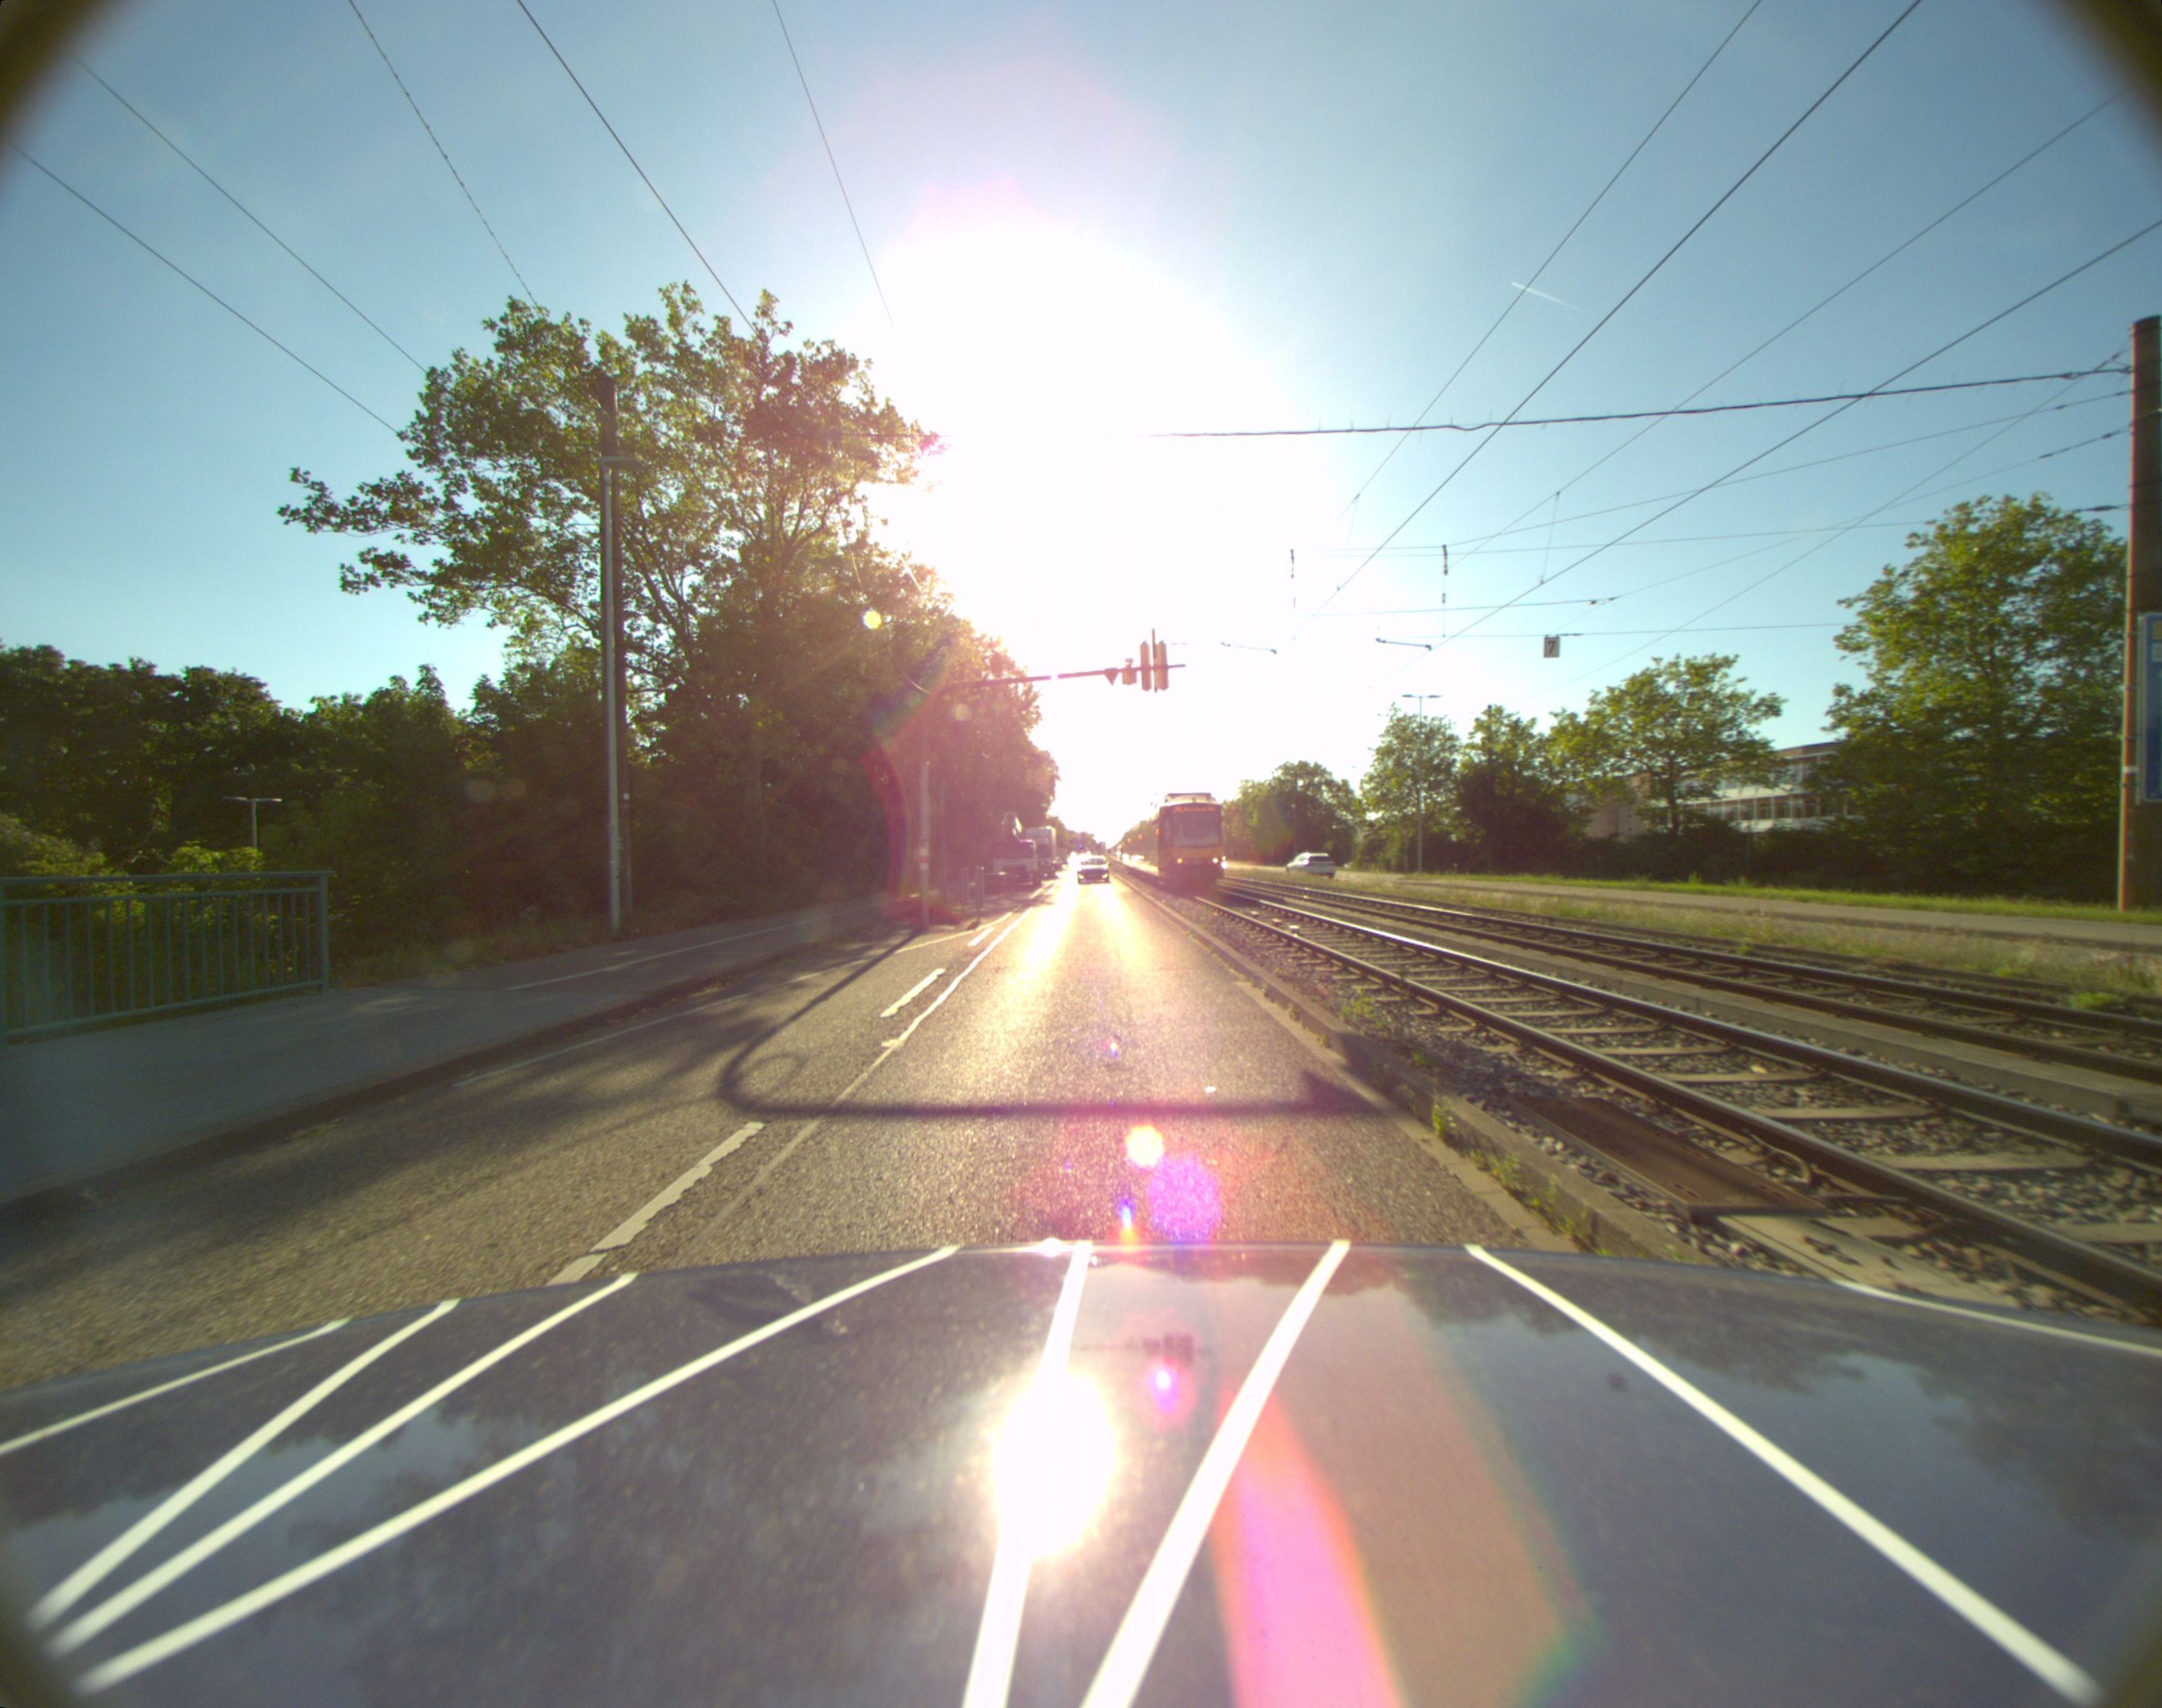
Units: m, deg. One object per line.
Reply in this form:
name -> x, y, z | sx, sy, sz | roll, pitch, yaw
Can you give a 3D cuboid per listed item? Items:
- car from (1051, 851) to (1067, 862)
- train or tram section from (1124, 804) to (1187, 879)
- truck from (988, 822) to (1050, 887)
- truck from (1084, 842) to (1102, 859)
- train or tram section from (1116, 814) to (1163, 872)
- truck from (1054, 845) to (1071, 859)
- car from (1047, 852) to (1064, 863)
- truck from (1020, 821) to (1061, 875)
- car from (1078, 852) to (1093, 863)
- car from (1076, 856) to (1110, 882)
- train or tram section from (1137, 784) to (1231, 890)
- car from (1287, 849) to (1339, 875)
car -> -2.717, 0.326, 96.021 | 1.801, 1.345, 4.000 | 0, 0, 1
train or tram section -> 4.252, -0.698, 45.602 | 2.569, 3.878, 11.671 | -1, 0, 0
truck -> -3.231, 0.006, 41.809 | 2.610, 3.185, 7.870 | -1, 0, 1
truck -> 2.459, -0.679, 156.411 | 3.314, 3.283, 15.322 | -1, 0, 1
train or tram section -> 4.256, -0.743, 57.273 | 2.569, 3.878, 11.671 | -1, 0, 0
truck -> -2.562, -0.266, 107.229 | 2.097, 1.961, 6.027 | 0, 0, 1
car -> -3.010, 0.395, 90.895 | 1.801, 1.345, 4.000 | 0, 0, 1
truck -> -2.990, -0.429, 58.420 | 2.559, 3.826, 7.870 | -1, 0, 1
car -> 0.578, 0.412, 97.428 | 1.801, 1.345, 4.000 | 0, 0, 1
car -> 0.670, 0.805, 41.408 | 1.801, 1.345, 4.000 | 0, 0, 1
train or tram section -> 4.247, -0.645, 33.940 | 2.569, 3.878, 11.671 | -1, 0, 0
car -> 13.347, 0.449, 43.958 | 1.801, 1.345, 3.999 | -2, 1, 1
